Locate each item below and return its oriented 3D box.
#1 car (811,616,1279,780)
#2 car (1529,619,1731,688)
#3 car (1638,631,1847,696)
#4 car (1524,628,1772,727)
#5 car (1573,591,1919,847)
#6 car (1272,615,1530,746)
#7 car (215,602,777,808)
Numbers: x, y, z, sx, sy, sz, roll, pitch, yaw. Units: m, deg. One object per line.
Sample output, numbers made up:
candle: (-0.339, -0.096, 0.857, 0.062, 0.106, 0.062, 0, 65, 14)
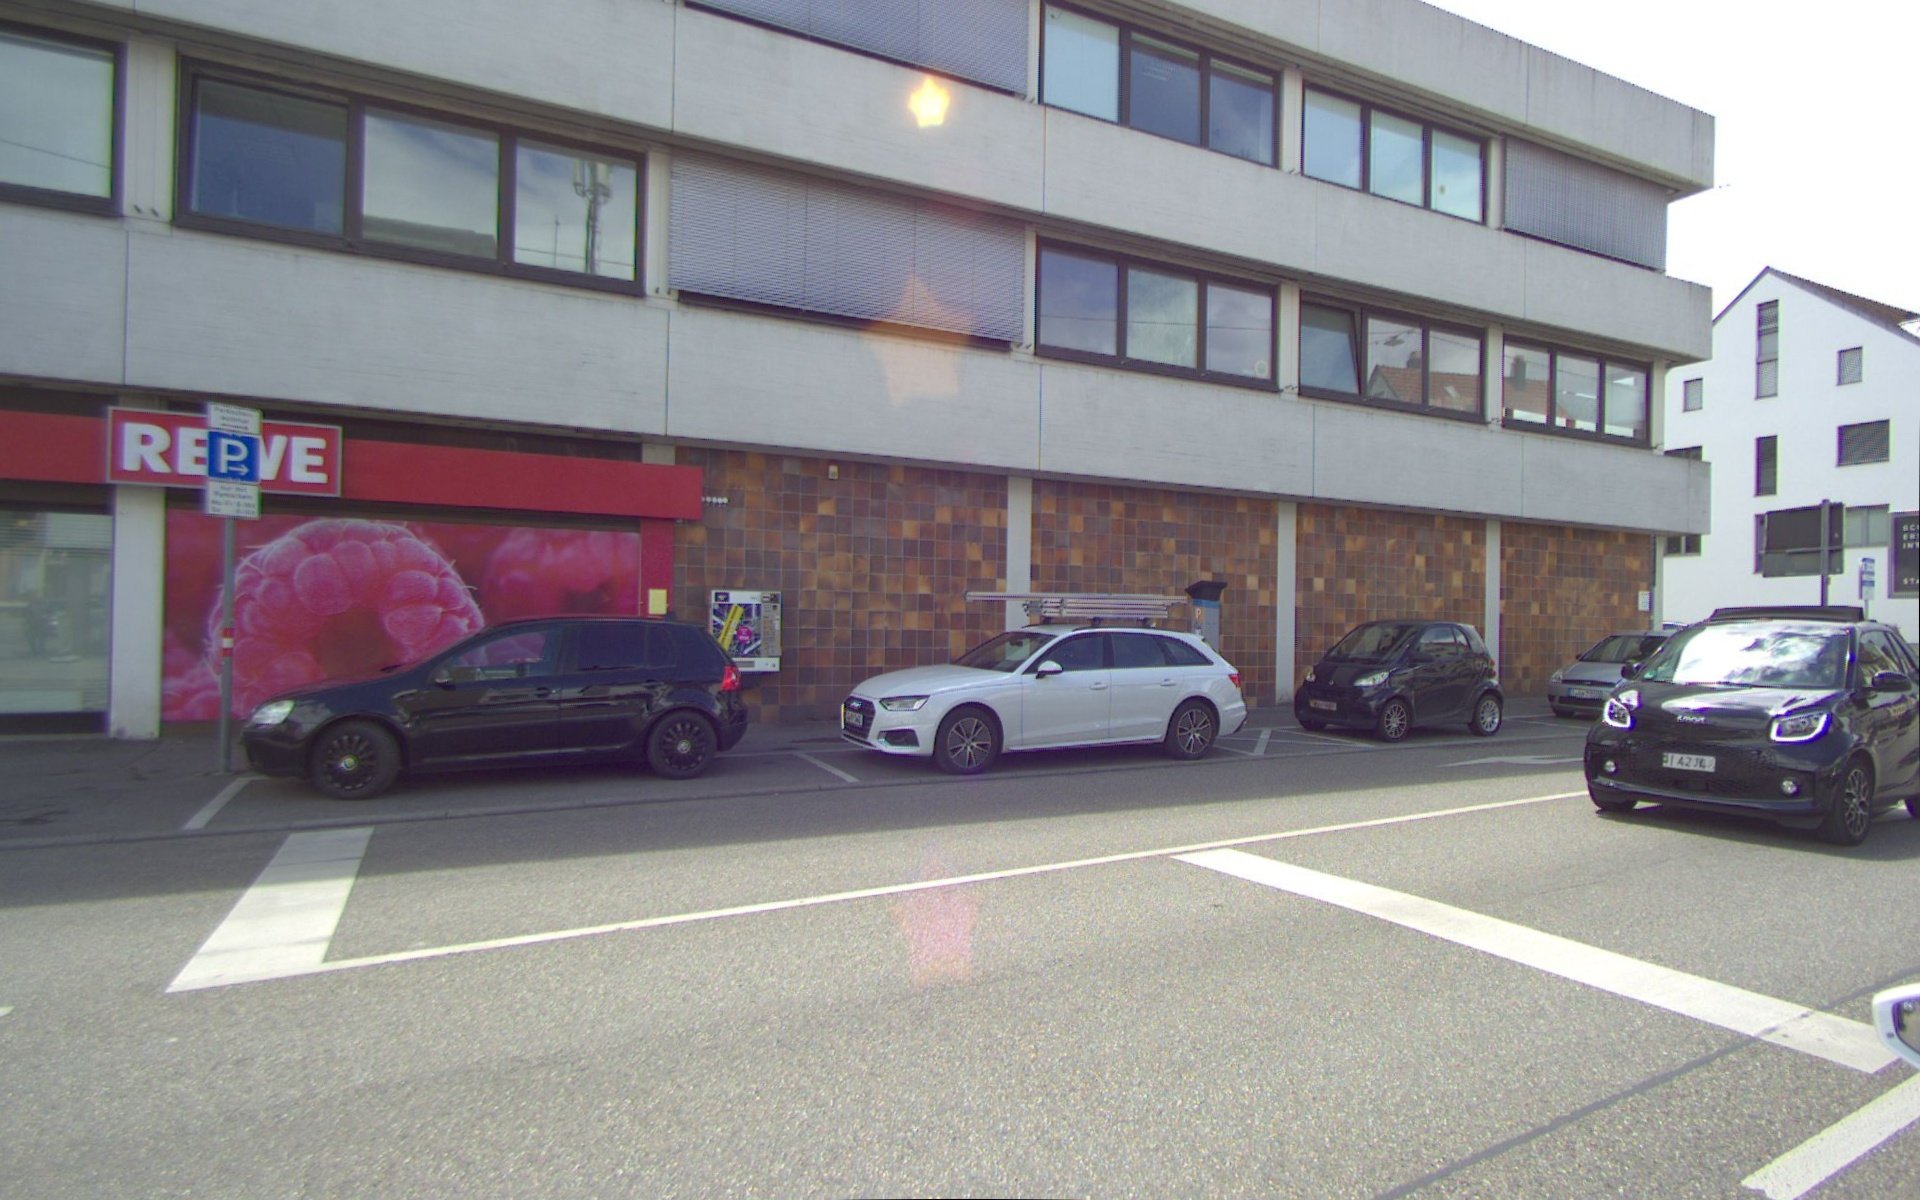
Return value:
car: (0.998, 0.955, 11.231, 4.888, 1.463, 2.037, 1, 0, -27)
car: (17.161, 1.351, 25.717, 4.860, 1.640, 1.947, 1, -4, -24)
car: (18.158, 1.420, 23.277, 4.791, 1.376, 1.945, 1, -1, -26)
car: (11.559, 1.228, 16.837, 4.095, 1.441, 1.715, 1, 0, -28)
car: (6.474, 0.814, 7.980, 2.802, 1.657, 1.668, 1, -2, -32)
car: (6.061, 1.031, 13.840, 3.016, 1.576, 1.730, 1, 0, -27)
car: (-4.037, 0.802, 9.241, 4.232, 1.495, 2.036, 1, 0, -29)
